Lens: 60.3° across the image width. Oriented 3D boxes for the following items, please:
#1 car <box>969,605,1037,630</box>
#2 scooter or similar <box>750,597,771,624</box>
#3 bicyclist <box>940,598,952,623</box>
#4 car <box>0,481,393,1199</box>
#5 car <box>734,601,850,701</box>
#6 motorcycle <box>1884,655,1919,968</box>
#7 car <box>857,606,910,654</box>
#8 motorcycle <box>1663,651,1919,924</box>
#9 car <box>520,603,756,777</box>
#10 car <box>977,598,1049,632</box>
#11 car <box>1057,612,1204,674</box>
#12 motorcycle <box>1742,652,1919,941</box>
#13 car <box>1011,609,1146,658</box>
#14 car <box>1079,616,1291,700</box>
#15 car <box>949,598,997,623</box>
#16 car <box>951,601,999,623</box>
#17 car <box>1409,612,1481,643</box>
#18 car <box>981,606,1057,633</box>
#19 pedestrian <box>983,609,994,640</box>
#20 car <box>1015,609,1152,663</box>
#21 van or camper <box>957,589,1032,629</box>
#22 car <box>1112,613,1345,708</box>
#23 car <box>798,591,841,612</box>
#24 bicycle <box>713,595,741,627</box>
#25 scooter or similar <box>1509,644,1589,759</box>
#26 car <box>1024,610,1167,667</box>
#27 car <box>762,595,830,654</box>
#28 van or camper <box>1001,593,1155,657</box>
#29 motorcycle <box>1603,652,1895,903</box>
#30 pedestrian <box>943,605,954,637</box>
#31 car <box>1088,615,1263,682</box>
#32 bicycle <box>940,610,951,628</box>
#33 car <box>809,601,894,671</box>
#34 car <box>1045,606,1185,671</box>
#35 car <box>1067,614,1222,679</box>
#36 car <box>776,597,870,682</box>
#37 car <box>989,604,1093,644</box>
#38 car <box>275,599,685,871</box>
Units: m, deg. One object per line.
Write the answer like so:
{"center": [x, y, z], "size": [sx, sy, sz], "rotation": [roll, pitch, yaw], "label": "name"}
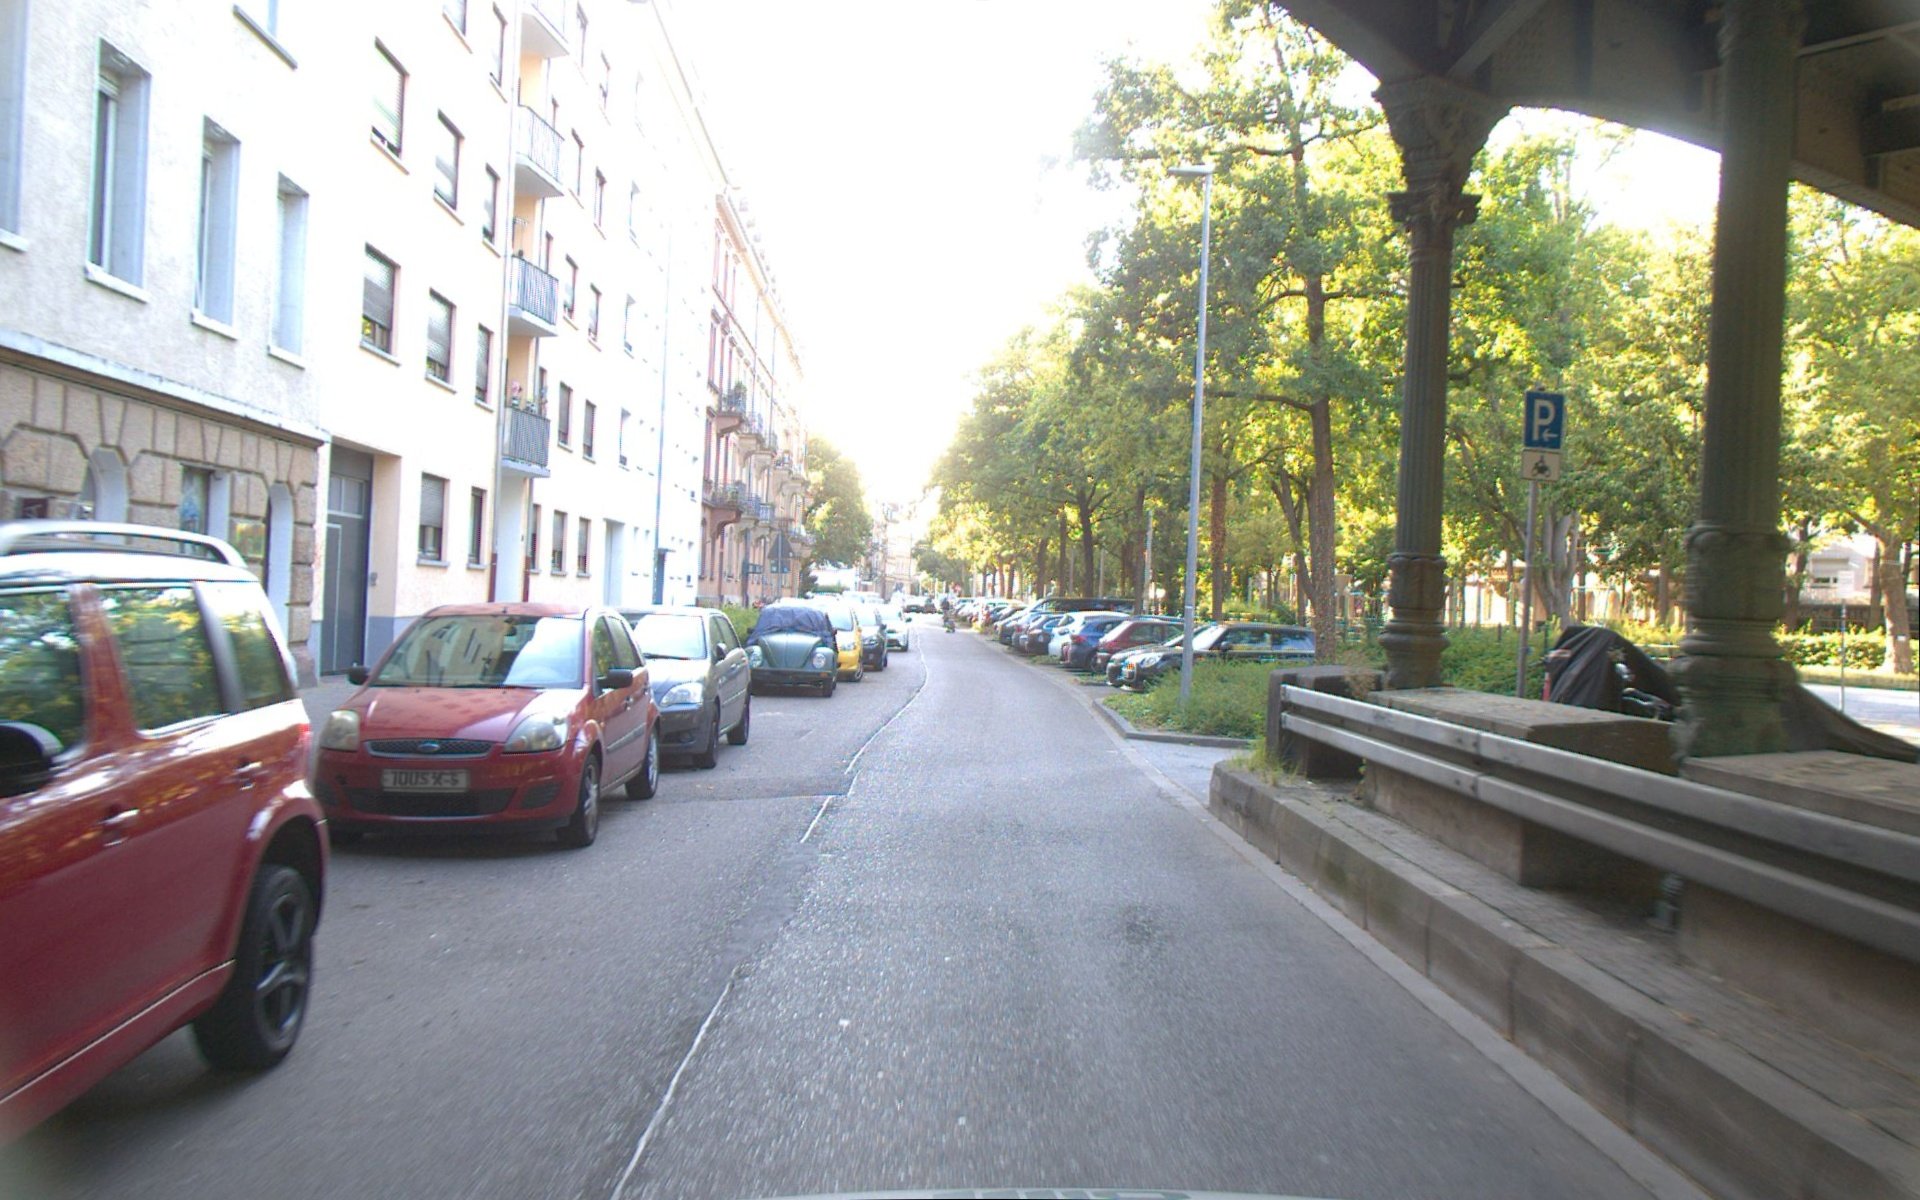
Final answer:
{"center": [2.640, 1.056, 100.923], "size": [4.132, 1.478, 1.649], "rotation": [1, 0, 2], "label": "car"}
{"center": [-10.248, 0.545, 84.878], "size": [0.767, 1.243, 2.703], "rotation": [3, -2, -2], "label": "scooter or similar"}
{"center": [-0.921, 0.695, 109.151], "size": [0.615, 1.600, 0.801], "rotation": [3, -2, -3], "label": "bicyclist"}
{"center": [-2.800, 0.615, 3.819], "size": [1.683, 1.738, 4.319], "rotation": [1, -1, -4], "label": "car"}
{"center": [-2.800, 0.824, 28.235], "size": [1.535, 1.544, 3.782], "rotation": [2, 0, 0], "label": "car"}
{"center": [5.280, 1.024, 7.687], "size": [1.567, 1.433, 0.713], "rotation": [3, -2, 18], "label": "motorcycle"}
{"center": [-2.509, 0.970, 55.045], "size": [1.634, 1.456, 3.999], "rotation": [0, 1, -1], "label": "car"}
{"center": [5.011, 1.069, 9.648], "size": [1.567, 1.433, 0.713], "rotation": [3, -2, 18], "label": "motorcycle"}
{"center": [-3.030, 0.787, 16.282], "size": [1.603, 1.492, 3.999], "rotation": [0, 0, -1], "label": "car"}
{"center": [3.087, 0.861, 96.489], "size": [4.134, 1.897, 1.761], "rotation": [1, 0, -1], "label": "car"}
{"center": [4.472, 1.129, 43.678], "size": [3.704, 1.499, 1.664], "rotation": [2, -2, 0], "label": "car"}
{"center": [5.091, 1.046, 8.782], "size": [1.567, 1.433, 0.713], "rotation": [3, -2, 18], "label": "motorcycle"}
{"center": [3.988, 1.146, 55.978], "size": [4.313, 1.527, 1.836], "rotation": [2, -2, -5], "label": "car"}
{"center": [4.182, 1.091, 31.149], "size": [3.705, 1.426, 1.827], "rotation": [2, -2, -1], "label": "car"}
{"center": [1.107, 0.929, 143.696], "size": [3.909, 1.825, 1.857], "rotation": [4, -2, -5], "label": "car"}
{"center": [1.273, 1.045, 141.029], "size": [3.909, 1.591, 1.857], "rotation": [4, -2, -5], "label": "car"}
{"center": [30.720, 1.740, 104.908], "size": [3.907, 1.713, 1.999], "rotation": [4, -2, -2], "label": "car"}
{"center": [3.212, 1.067, 91.025], "size": [4.001, 1.468, 1.760], "rotation": [1, 0, -5], "label": "car"}
{"center": [1.423, 1.223, 83.107], "size": [0.372, 1.543, 0.519], "rotation": [3, 2, 17], "label": "pedestrian"}
{"center": [4.000, 1.185, 53.910], "size": [4.309, 1.605, 1.664], "rotation": [2, -2, 0], "label": "car"}
{"center": [2.342, 0.640, 113.452], "size": [4.883, 2.419, 2.183], "rotation": [4, -2, -4], "label": "van or camper"}
{"center": [4.643, 1.054, 28.846], "size": [3.709, 1.498, 1.633], "rotation": [2, -2, -6], "label": "car"}
{"center": [-13.579, 0.188, 159.580], "size": [3.906, 1.736, 1.999], "rotation": [4, -2, -1], "label": "car"}
{"center": [-9.405, 0.433, 66.883], "size": [0.722, 1.227, 2.513], "rotation": [3, 1, -1], "label": "bicycle"}
{"center": [7.156, 1.217, 20.129], "size": [0.467, 1.321, 1.325], "rotation": [3, -2, 1], "label": "scooter or similar"}
{"center": [4.159, 1.196, 51.028], "size": [4.307, 1.605, 1.665], "rotation": [2, -2, 3], "label": "car"}
{"center": [-4.816, 0.703, 49.051], "size": [1.635, 1.534, 3.998], "rotation": [5, 0, -2], "label": "car"}
{"center": [4.163, 0.870, 58.944], "size": [5.303, 2.063, 2.029], "rotation": [2, 0, 0], "label": "van or camper"}
{"center": [5.036, 1.102, 10.661], "size": [1.567, 1.433, 0.713], "rotation": [3, -2, 18], "label": "motorcycle"}
{"center": [-0.620, 1.094, 86.810], "size": [0.372, 1.612, 0.519], "rotation": [3, 2, 17], "label": "pedestrian"}
{"center": [4.980, 1.129, 38.483], "size": [3.709, 1.426, 1.764], "rotation": [2, -2, -6], "label": "car"}
{"center": [-0.953, 1.250, 109.165], "size": [0.628, 1.119, 1.942], "rotation": [3, -2, -3], "label": "bicycle"}
{"center": [-2.466, 0.798, 38.337], "size": [1.704, 1.505, 3.999], "rotation": [1, 0, 0], "label": "car"}
{"center": [4.312, 1.080, 46.308], "size": [3.705, 1.675, 1.663], "rotation": [2, -2, -1], "label": "car"}
{"center": [4.520, 1.158, 40.867], "size": [3.703, 1.472, 1.665], "rotation": [2, -2, 3], "label": "car"}
{"center": [-2.719, 0.767, 33.457], "size": [1.668, 1.552, 3.772], "rotation": [2, 0, -2], "label": "car"}
{"center": [3.453, 1.032, 71.325], "size": [4.311, 1.619, 1.837], "rotation": [2, -1, -3], "label": "car"}
{"center": [-3.022, 0.773, 11.282], "size": [1.655, 1.466, 3.999], "rotation": [2, -1, -1], "label": "car"}
